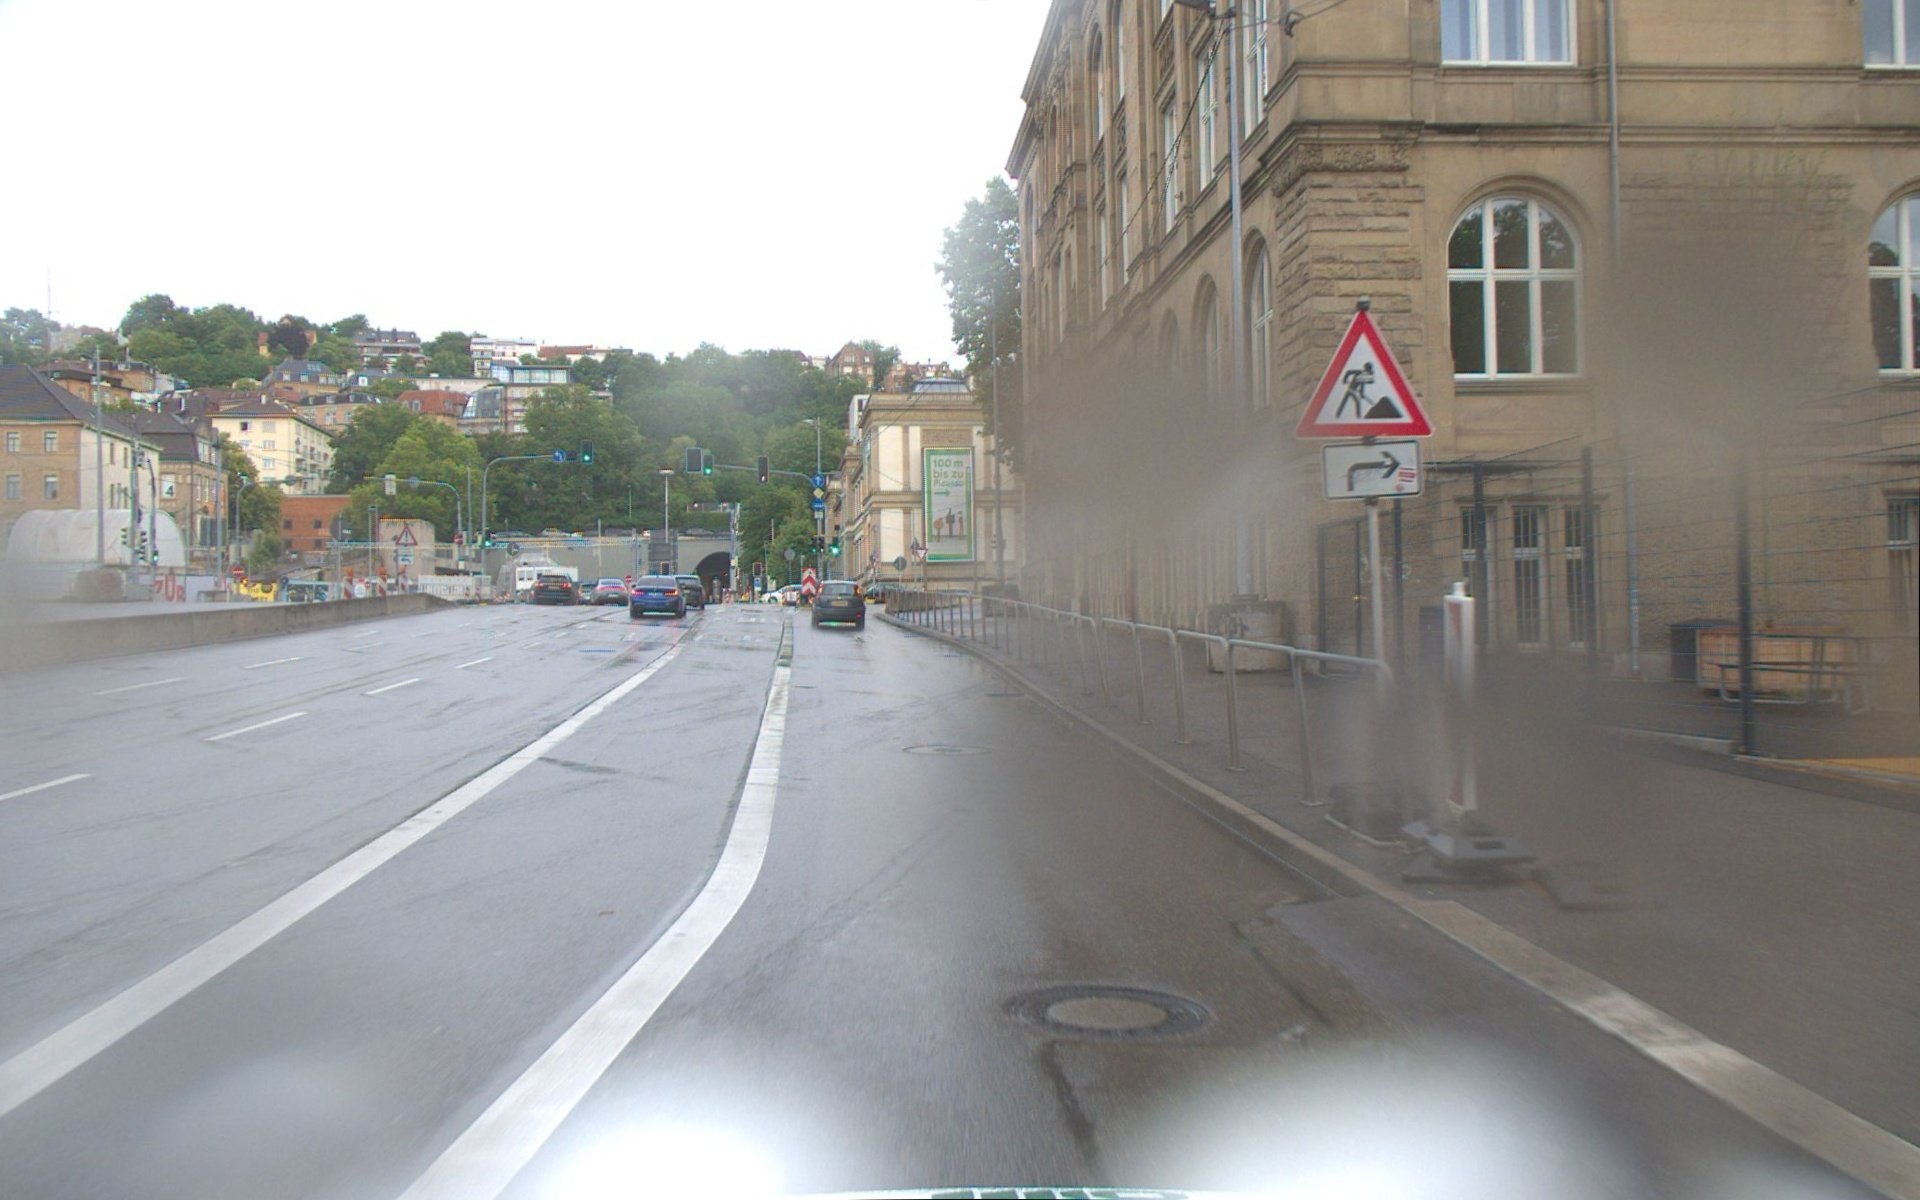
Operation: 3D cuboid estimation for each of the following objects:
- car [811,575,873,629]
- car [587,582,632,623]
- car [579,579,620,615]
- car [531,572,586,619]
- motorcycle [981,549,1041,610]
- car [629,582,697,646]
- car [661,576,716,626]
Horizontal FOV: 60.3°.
[{"bbox_3d":[-3.757,0.089,52.201,1.777,1.553,3.994,-2,-1,-6],"label":"car"},{"bbox_3d":[-18.835,0.172,88.980,2.013,2.049,3.992,-2,-2,-8],"label":"car"},{"bbox_3d":[-22.467,-0.173,103.253,1.954,2.049,3.996,-2,-2,-5],"label":"car"},{"bbox_3d":[-18.741,-0.189,77.396,1.978,2.049,3.993,-2,-2,-7],"label":"car"},{"bbox_3d":[1.773,-0.714,58.165,1.760,2.049,3.811,-1,1,-3],"label":"motorcycle"},{"bbox_3d":[-10.421,0.521,58.189,2.065,2.086,3.993,-2,-2,-7],"label":"car"},{"bbox_3d":[-11.795,0.075,72.039,1.740,2.049,3.998,-2,-2,-1],"label":"car"}]
